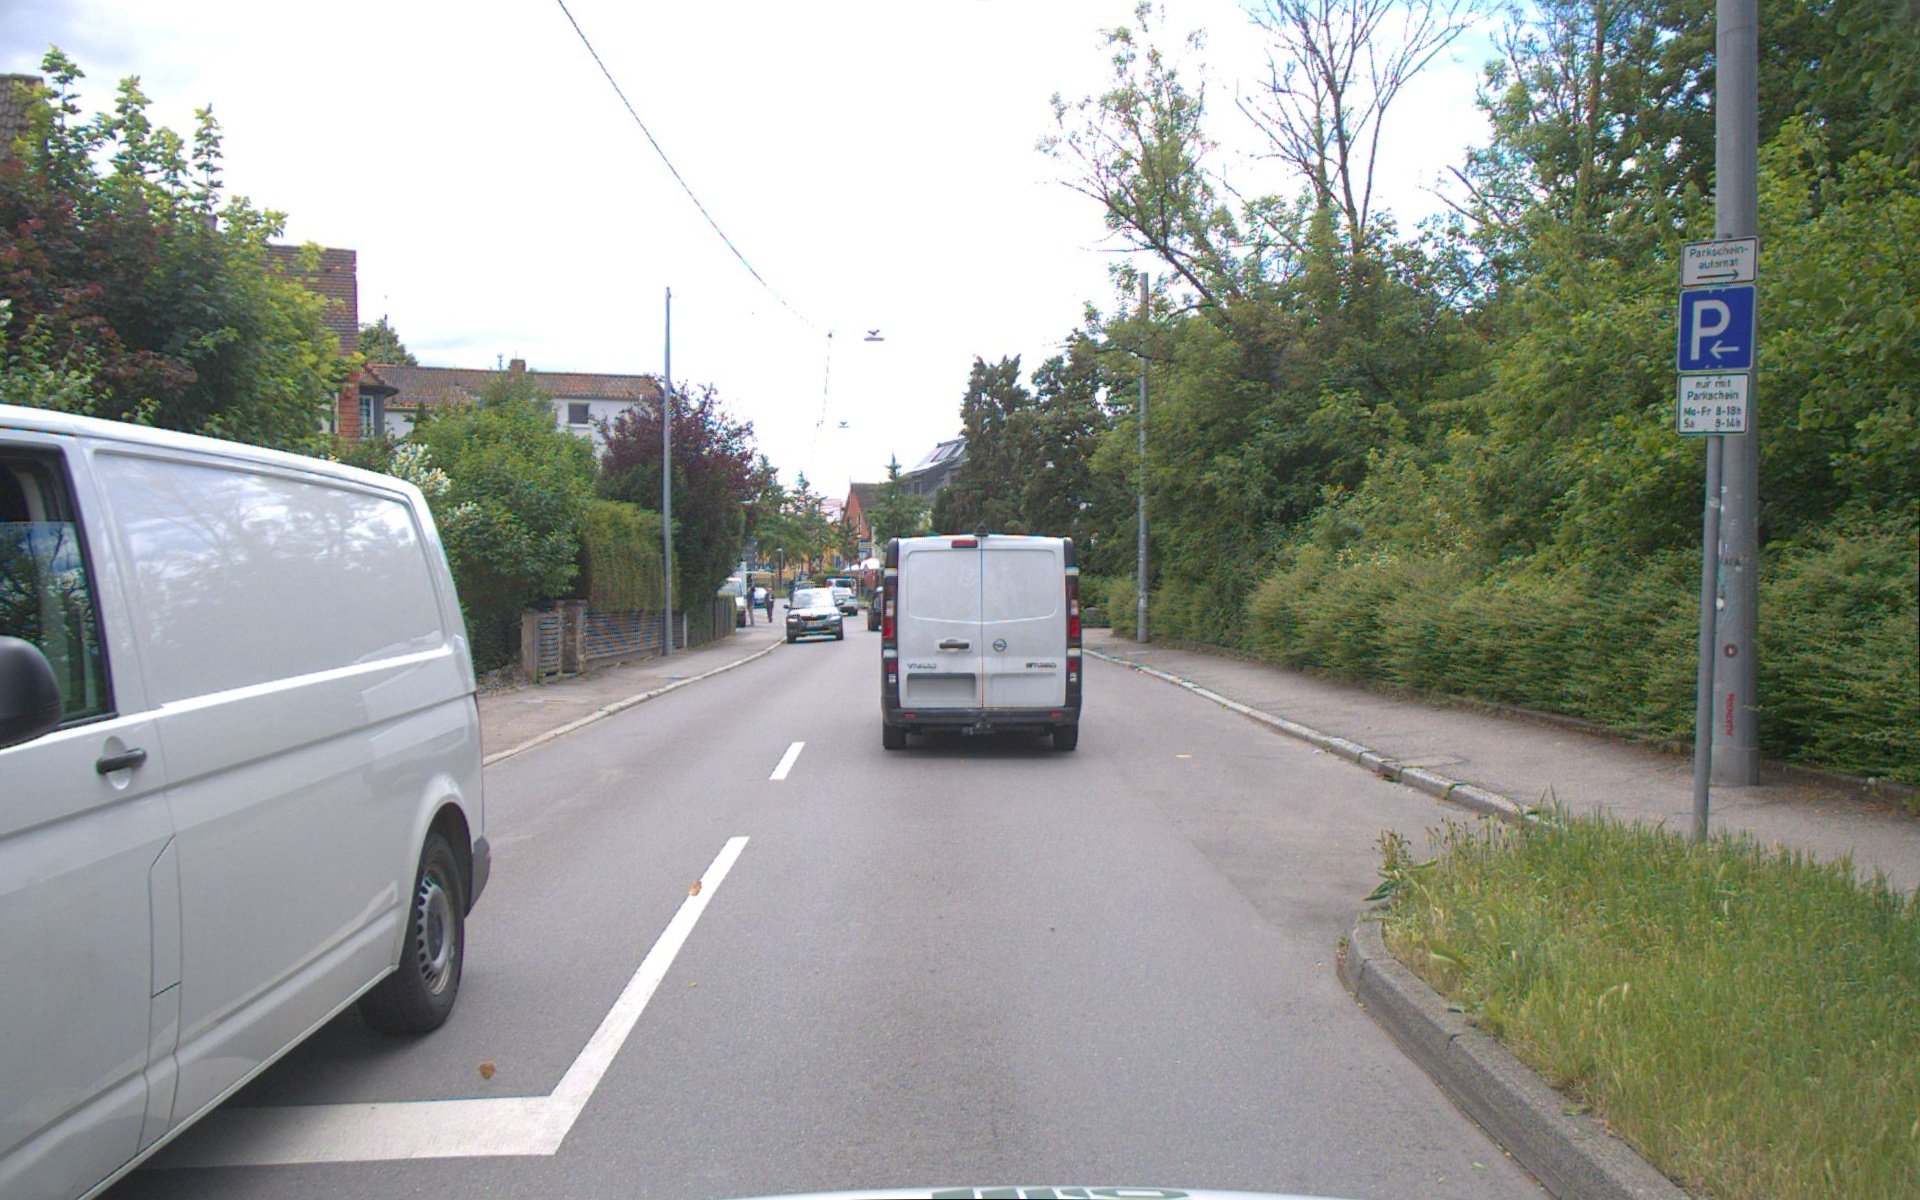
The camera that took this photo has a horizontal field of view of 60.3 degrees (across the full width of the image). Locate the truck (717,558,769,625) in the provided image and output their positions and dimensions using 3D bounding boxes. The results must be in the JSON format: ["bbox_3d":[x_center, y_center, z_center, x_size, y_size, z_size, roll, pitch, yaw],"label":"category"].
[{"bbox_3d":[-9.215,-0.355,70.486,1.955,2.730,3.996,1,0,-5],"label":"truck"}]

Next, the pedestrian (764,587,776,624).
[{"bbox_3d":[-9.513,0.258,82.778,0.504,1.828,0.542,1,0,-5],"label":"pedestrian"}]

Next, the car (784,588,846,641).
[{"bbox_3d":[-4.631,0.428,52.446,1.847,1.538,4.107,-2,1,-6],"label":"car"}]

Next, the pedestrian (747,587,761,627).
[{"bbox_3d":[-9.071,0.305,72.972,0.411,1.744,0.451,0,0,42],"label":"pedestrian"}]

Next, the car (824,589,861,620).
[{"bbox_3d":[-6.810,0.259,95.622,1.791,1.758,3.992,0,0,-9],"label":"car"}]

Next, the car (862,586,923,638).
[{"bbox_3d":[-2.500,0.420,62.051,1.857,1.892,4.406,0,0,3],"label":"car"}]

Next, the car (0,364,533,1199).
[{"bbox_3d":[-2.577,0.584,3.996,1.830,1.944,5.114,-2,1,-2],"label":"car"}]

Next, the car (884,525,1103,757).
[{"bbox_3d":[0.240,0.351,16.514,1.891,1.998,4.400,0,0,-1],"label":"car"}]
